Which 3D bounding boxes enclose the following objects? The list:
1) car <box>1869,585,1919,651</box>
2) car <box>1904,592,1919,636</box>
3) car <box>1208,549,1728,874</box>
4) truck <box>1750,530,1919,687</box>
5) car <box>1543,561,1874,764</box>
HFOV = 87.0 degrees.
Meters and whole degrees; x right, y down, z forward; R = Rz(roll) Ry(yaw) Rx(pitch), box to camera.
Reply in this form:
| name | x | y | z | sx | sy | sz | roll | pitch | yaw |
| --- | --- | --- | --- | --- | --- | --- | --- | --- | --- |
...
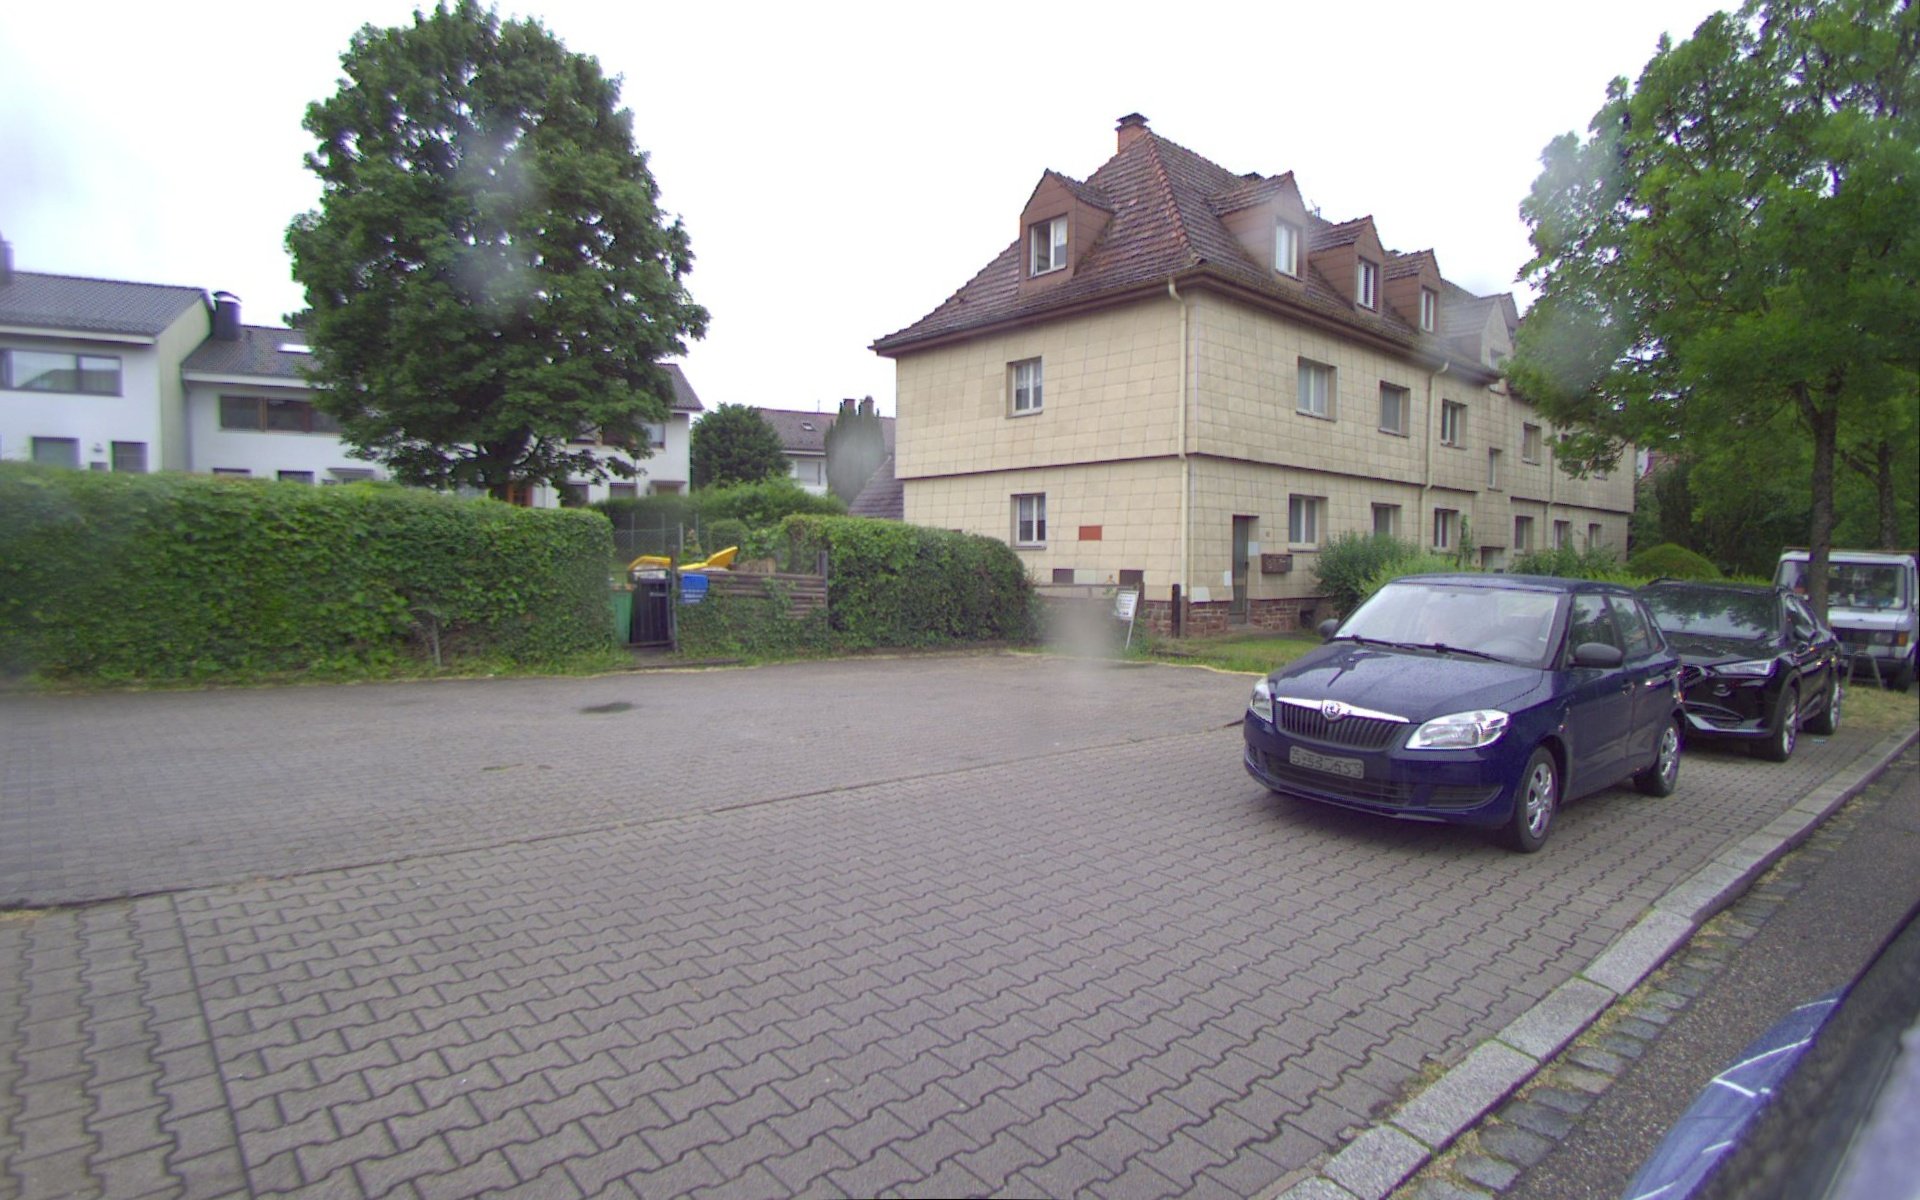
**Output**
| name | x | y | z | sx | sy | sz | roll | pitch | yaw |
| --- | --- | --- | --- | --- | --- | --- | --- | --- | --- |
| car | 23.961 | 0.533 | 25.075 | 3.951 | 1.454 | 1.605 | 4 | 2 | -42 |
| car | 33.591 | 0.511 | 34.495 | 4.424 | 1.406 | 1.691 | 0 | 4 | -43 |
| car | 3.446 | 0.500 | 6.564 | 3.788 | 1.490 | 1.608 | 0 | 3 | -40 |
| truck | 15.852 | 0.080 | 17.720 | 6.392 | 2.248 | 2.084 | 0 | 4 | -43 |
| car | 7.461 | 0.472 | 9.934 | 4.111 | 1.516 | 1.718 | 0 | 4 | -42 |
